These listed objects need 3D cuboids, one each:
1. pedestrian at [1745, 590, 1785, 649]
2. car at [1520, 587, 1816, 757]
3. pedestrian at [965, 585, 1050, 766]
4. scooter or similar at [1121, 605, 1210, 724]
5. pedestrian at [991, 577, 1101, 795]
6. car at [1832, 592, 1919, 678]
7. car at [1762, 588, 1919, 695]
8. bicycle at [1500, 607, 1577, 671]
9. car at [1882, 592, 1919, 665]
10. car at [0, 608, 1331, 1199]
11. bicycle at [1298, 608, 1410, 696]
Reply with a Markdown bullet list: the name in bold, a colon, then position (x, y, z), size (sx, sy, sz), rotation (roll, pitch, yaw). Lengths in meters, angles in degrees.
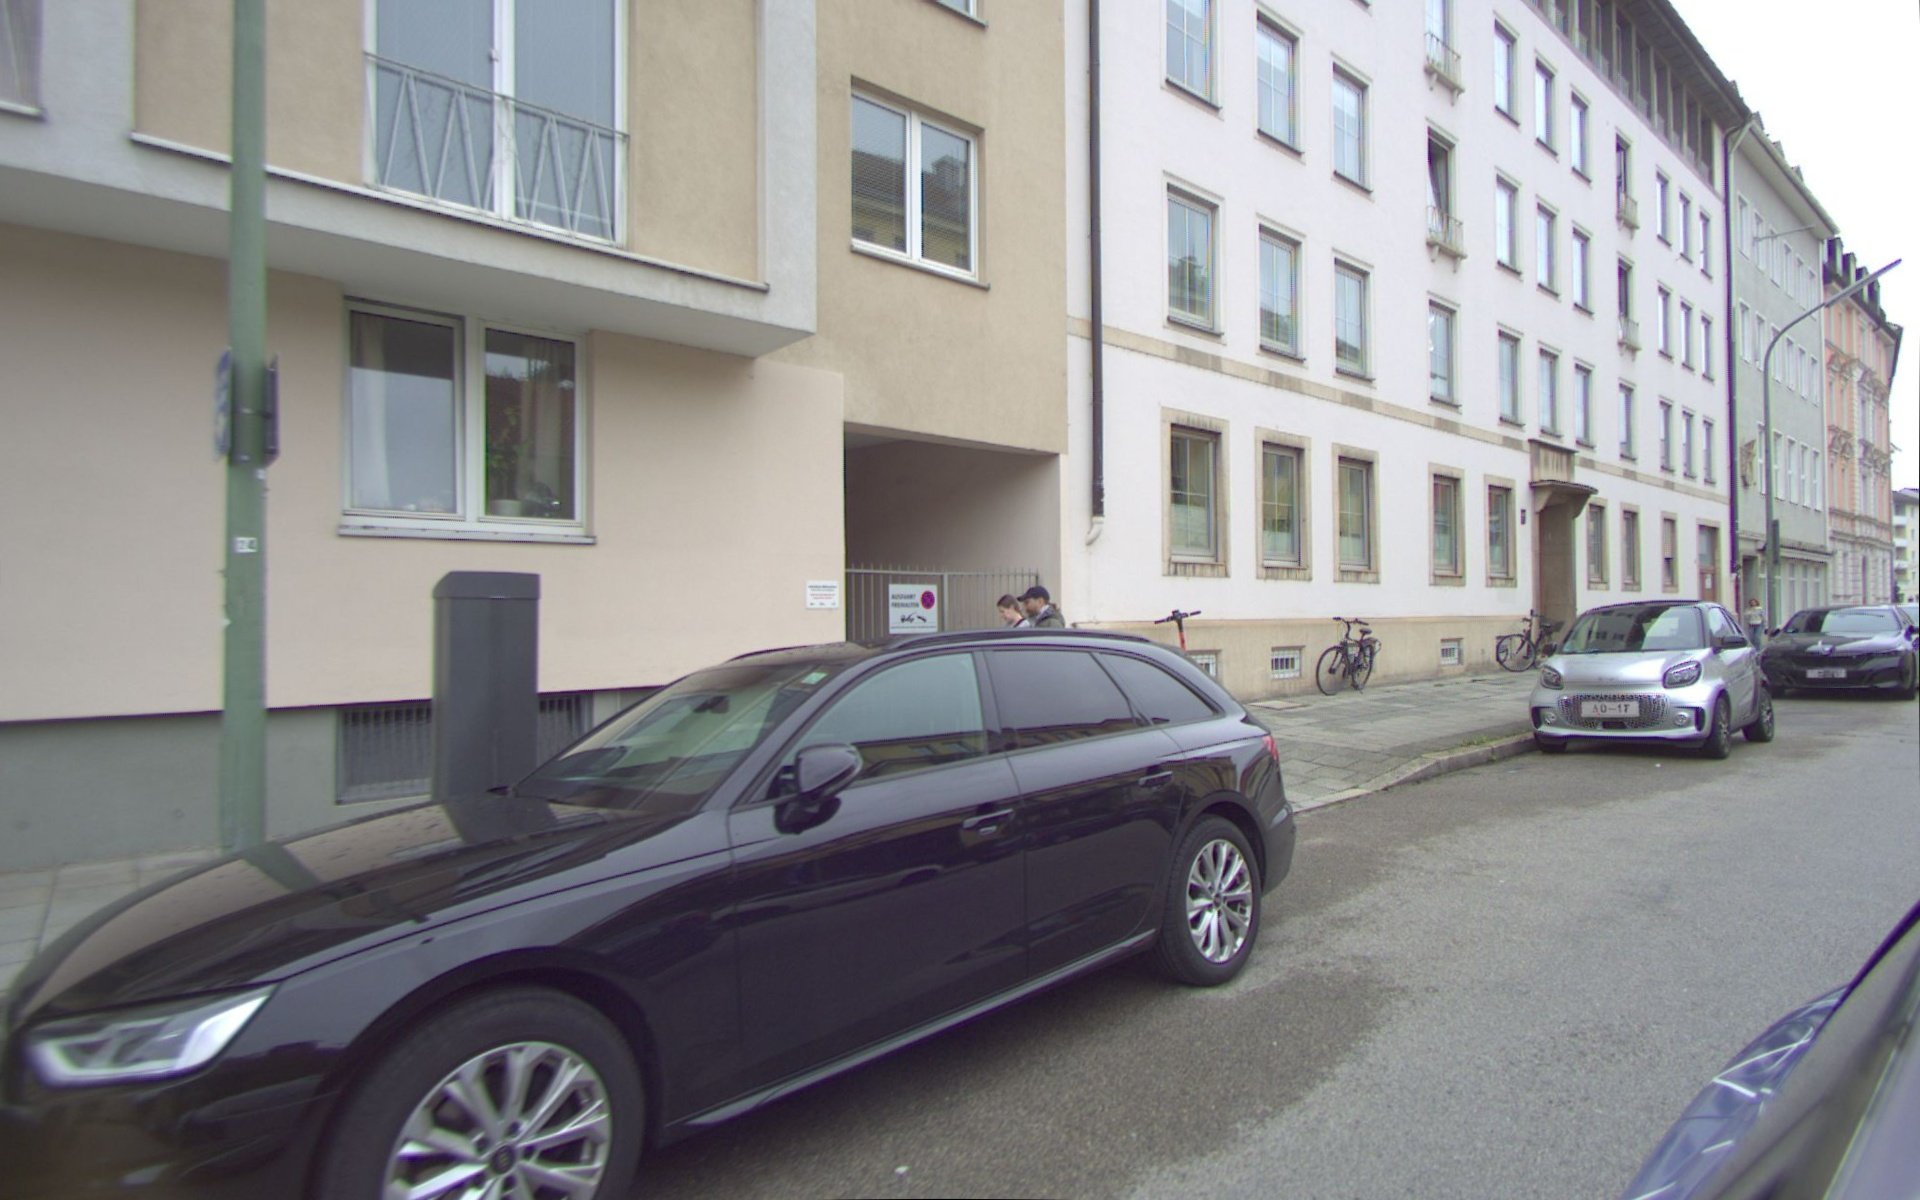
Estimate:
- **pedestrian**: position (22.911, 0.551, 28.805), size (0.813, 1.646, 0.736), rotation (1, 0, -40)
- **car**: position (7.869, 0.709, 11.133), size (3.812, 1.555, 1.674), rotation (0, -4, -40)
- **pedestrian**: position (0.439, 0.672, 9.408), size (0.550, 1.604, 0.532), rotation (0, 1, -40)
- **scooter or similar**: position (2.449, 0.733, 12.025), size (0.598, 1.267, 1.024), rotation (1, 4, 41)
- **pedestrian**: position (0.700, 0.655, 8.234), size (0.619, 1.675, 0.598), rotation (0, 1, -40)
- **car**: position (19.304, 0.667, 20.485), size (4.195, 1.605, 1.781), rotation (0, -3, -40)
- **car**: position (15.215, 0.647, 17.057), size (4.733, 1.564, 1.858), rotation (0, -3, -42)
- **bicycle**: position (11.113, 0.723, 19.413), size (1.992, 1.140, 0.660), rotation (0, 0, -41)
- **car**: position (23.071, 0.633, 23.494), size (4.251, 1.605, 1.782), rotation (0, -3, -39)
- **car**: position (-0.571, 0.816, 3.725), size (4.407, 1.439, 1.797), rotation (0, -4, -43)
- **bicycle**: position (5.774, 0.720, 14.760), size (1.992, 1.178, 0.660), rotation (0, 0, -41)
